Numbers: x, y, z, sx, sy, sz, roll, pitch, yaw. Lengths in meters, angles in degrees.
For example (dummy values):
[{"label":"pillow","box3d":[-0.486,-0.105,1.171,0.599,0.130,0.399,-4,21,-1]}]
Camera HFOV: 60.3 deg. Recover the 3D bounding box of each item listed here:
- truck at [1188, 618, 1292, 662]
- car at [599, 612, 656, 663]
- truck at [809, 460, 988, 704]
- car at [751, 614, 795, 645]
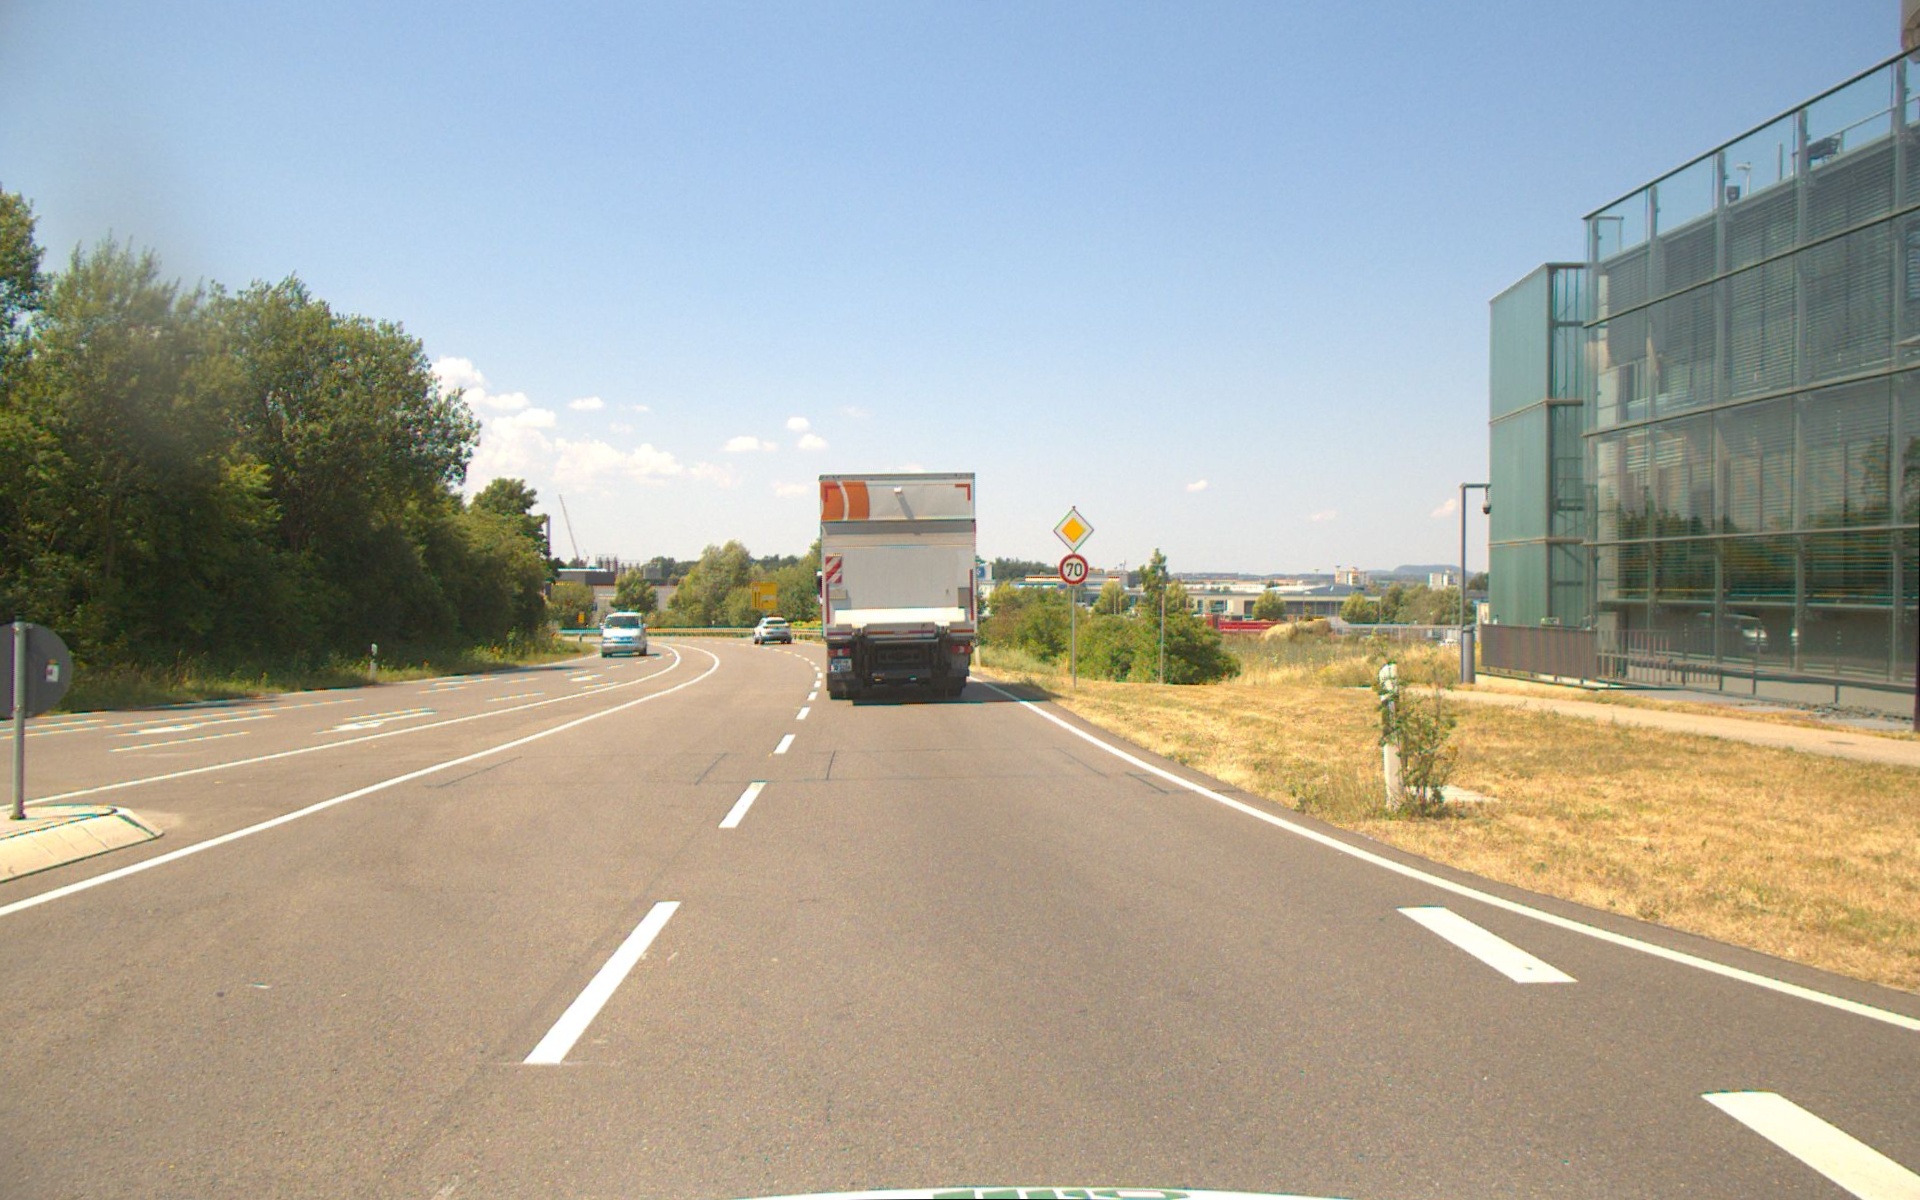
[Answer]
[{"label":"truck","box3d":[26.687,3.776,157.824,9.201,3.748,3.129,2,0,25]},{"label":"car","box3d":[-14.822,1.632,73.872,1.935,2.049,4.835,2,1,-5]},{"label":"truck","box3d":[-1.130,-0.260,30.473,2.747,3.776,9.103,-1,0,-2]},{"label":"car","box3d":[-10.816,1.711,95.388,1.911,1.693,3.983,2,-2,-15]}]
